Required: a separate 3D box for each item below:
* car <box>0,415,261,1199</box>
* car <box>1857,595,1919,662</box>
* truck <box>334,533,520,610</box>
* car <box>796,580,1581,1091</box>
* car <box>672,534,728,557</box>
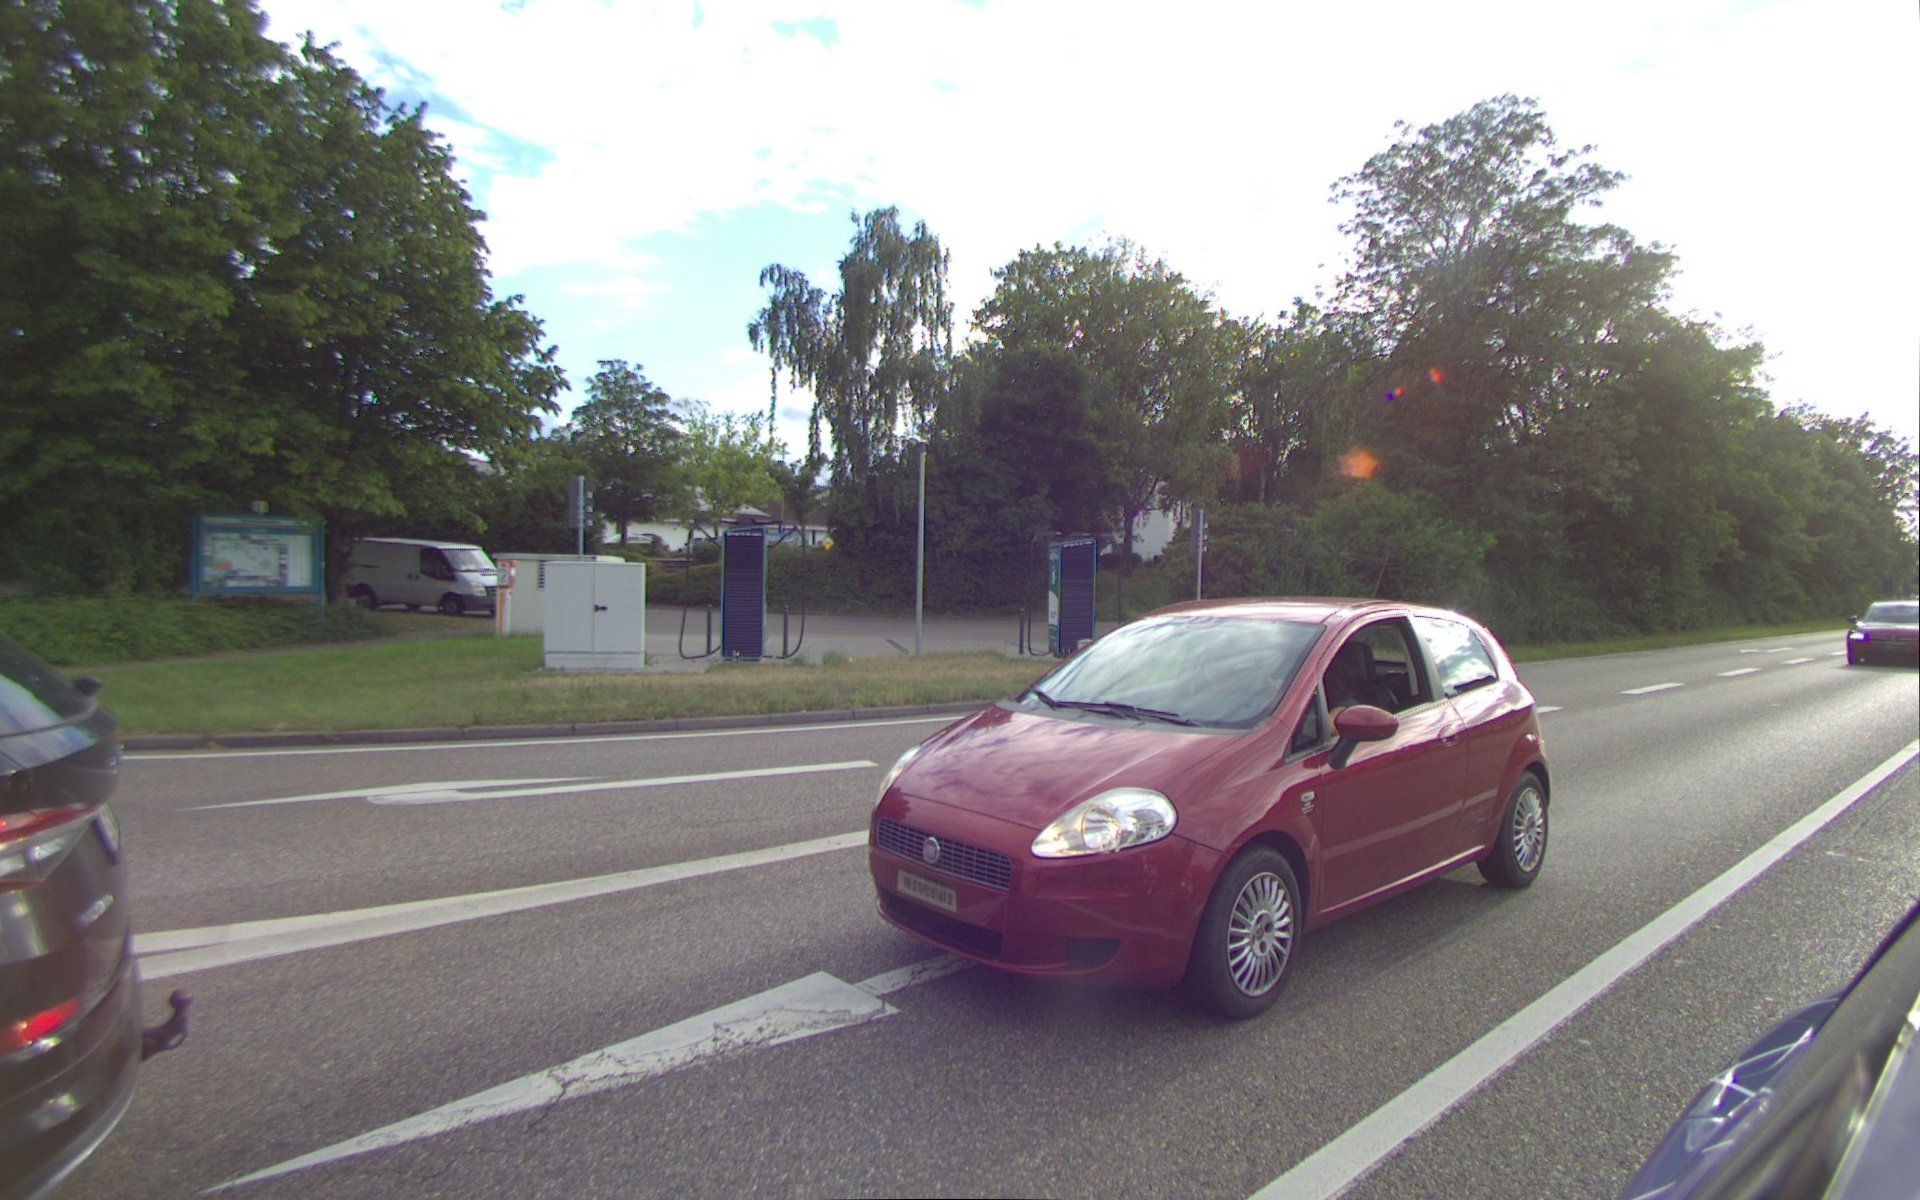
[{"bbox_3d":[-3.486,0.551,1.026,4.403,1.671,1.847,0,0,-42],"label":"car"},{"bbox_3d":[22.128,0.612,23.366,3.931,1.433,1.699,0,1,-42],"label":"car"},{"bbox_3d":[-14.885,-0.790,28.303,4.602,2.022,1.816,1,0,14],"label":"truck"},{"bbox_3d":[1.346,0.650,4.804,3.925,1.450,1.665,0,1,-42],"label":"car"},{"bbox_3d":[-17.496,-3.619,68.007,1.968,1.382,3.989,-1,1,-45],"label":"car"}]
